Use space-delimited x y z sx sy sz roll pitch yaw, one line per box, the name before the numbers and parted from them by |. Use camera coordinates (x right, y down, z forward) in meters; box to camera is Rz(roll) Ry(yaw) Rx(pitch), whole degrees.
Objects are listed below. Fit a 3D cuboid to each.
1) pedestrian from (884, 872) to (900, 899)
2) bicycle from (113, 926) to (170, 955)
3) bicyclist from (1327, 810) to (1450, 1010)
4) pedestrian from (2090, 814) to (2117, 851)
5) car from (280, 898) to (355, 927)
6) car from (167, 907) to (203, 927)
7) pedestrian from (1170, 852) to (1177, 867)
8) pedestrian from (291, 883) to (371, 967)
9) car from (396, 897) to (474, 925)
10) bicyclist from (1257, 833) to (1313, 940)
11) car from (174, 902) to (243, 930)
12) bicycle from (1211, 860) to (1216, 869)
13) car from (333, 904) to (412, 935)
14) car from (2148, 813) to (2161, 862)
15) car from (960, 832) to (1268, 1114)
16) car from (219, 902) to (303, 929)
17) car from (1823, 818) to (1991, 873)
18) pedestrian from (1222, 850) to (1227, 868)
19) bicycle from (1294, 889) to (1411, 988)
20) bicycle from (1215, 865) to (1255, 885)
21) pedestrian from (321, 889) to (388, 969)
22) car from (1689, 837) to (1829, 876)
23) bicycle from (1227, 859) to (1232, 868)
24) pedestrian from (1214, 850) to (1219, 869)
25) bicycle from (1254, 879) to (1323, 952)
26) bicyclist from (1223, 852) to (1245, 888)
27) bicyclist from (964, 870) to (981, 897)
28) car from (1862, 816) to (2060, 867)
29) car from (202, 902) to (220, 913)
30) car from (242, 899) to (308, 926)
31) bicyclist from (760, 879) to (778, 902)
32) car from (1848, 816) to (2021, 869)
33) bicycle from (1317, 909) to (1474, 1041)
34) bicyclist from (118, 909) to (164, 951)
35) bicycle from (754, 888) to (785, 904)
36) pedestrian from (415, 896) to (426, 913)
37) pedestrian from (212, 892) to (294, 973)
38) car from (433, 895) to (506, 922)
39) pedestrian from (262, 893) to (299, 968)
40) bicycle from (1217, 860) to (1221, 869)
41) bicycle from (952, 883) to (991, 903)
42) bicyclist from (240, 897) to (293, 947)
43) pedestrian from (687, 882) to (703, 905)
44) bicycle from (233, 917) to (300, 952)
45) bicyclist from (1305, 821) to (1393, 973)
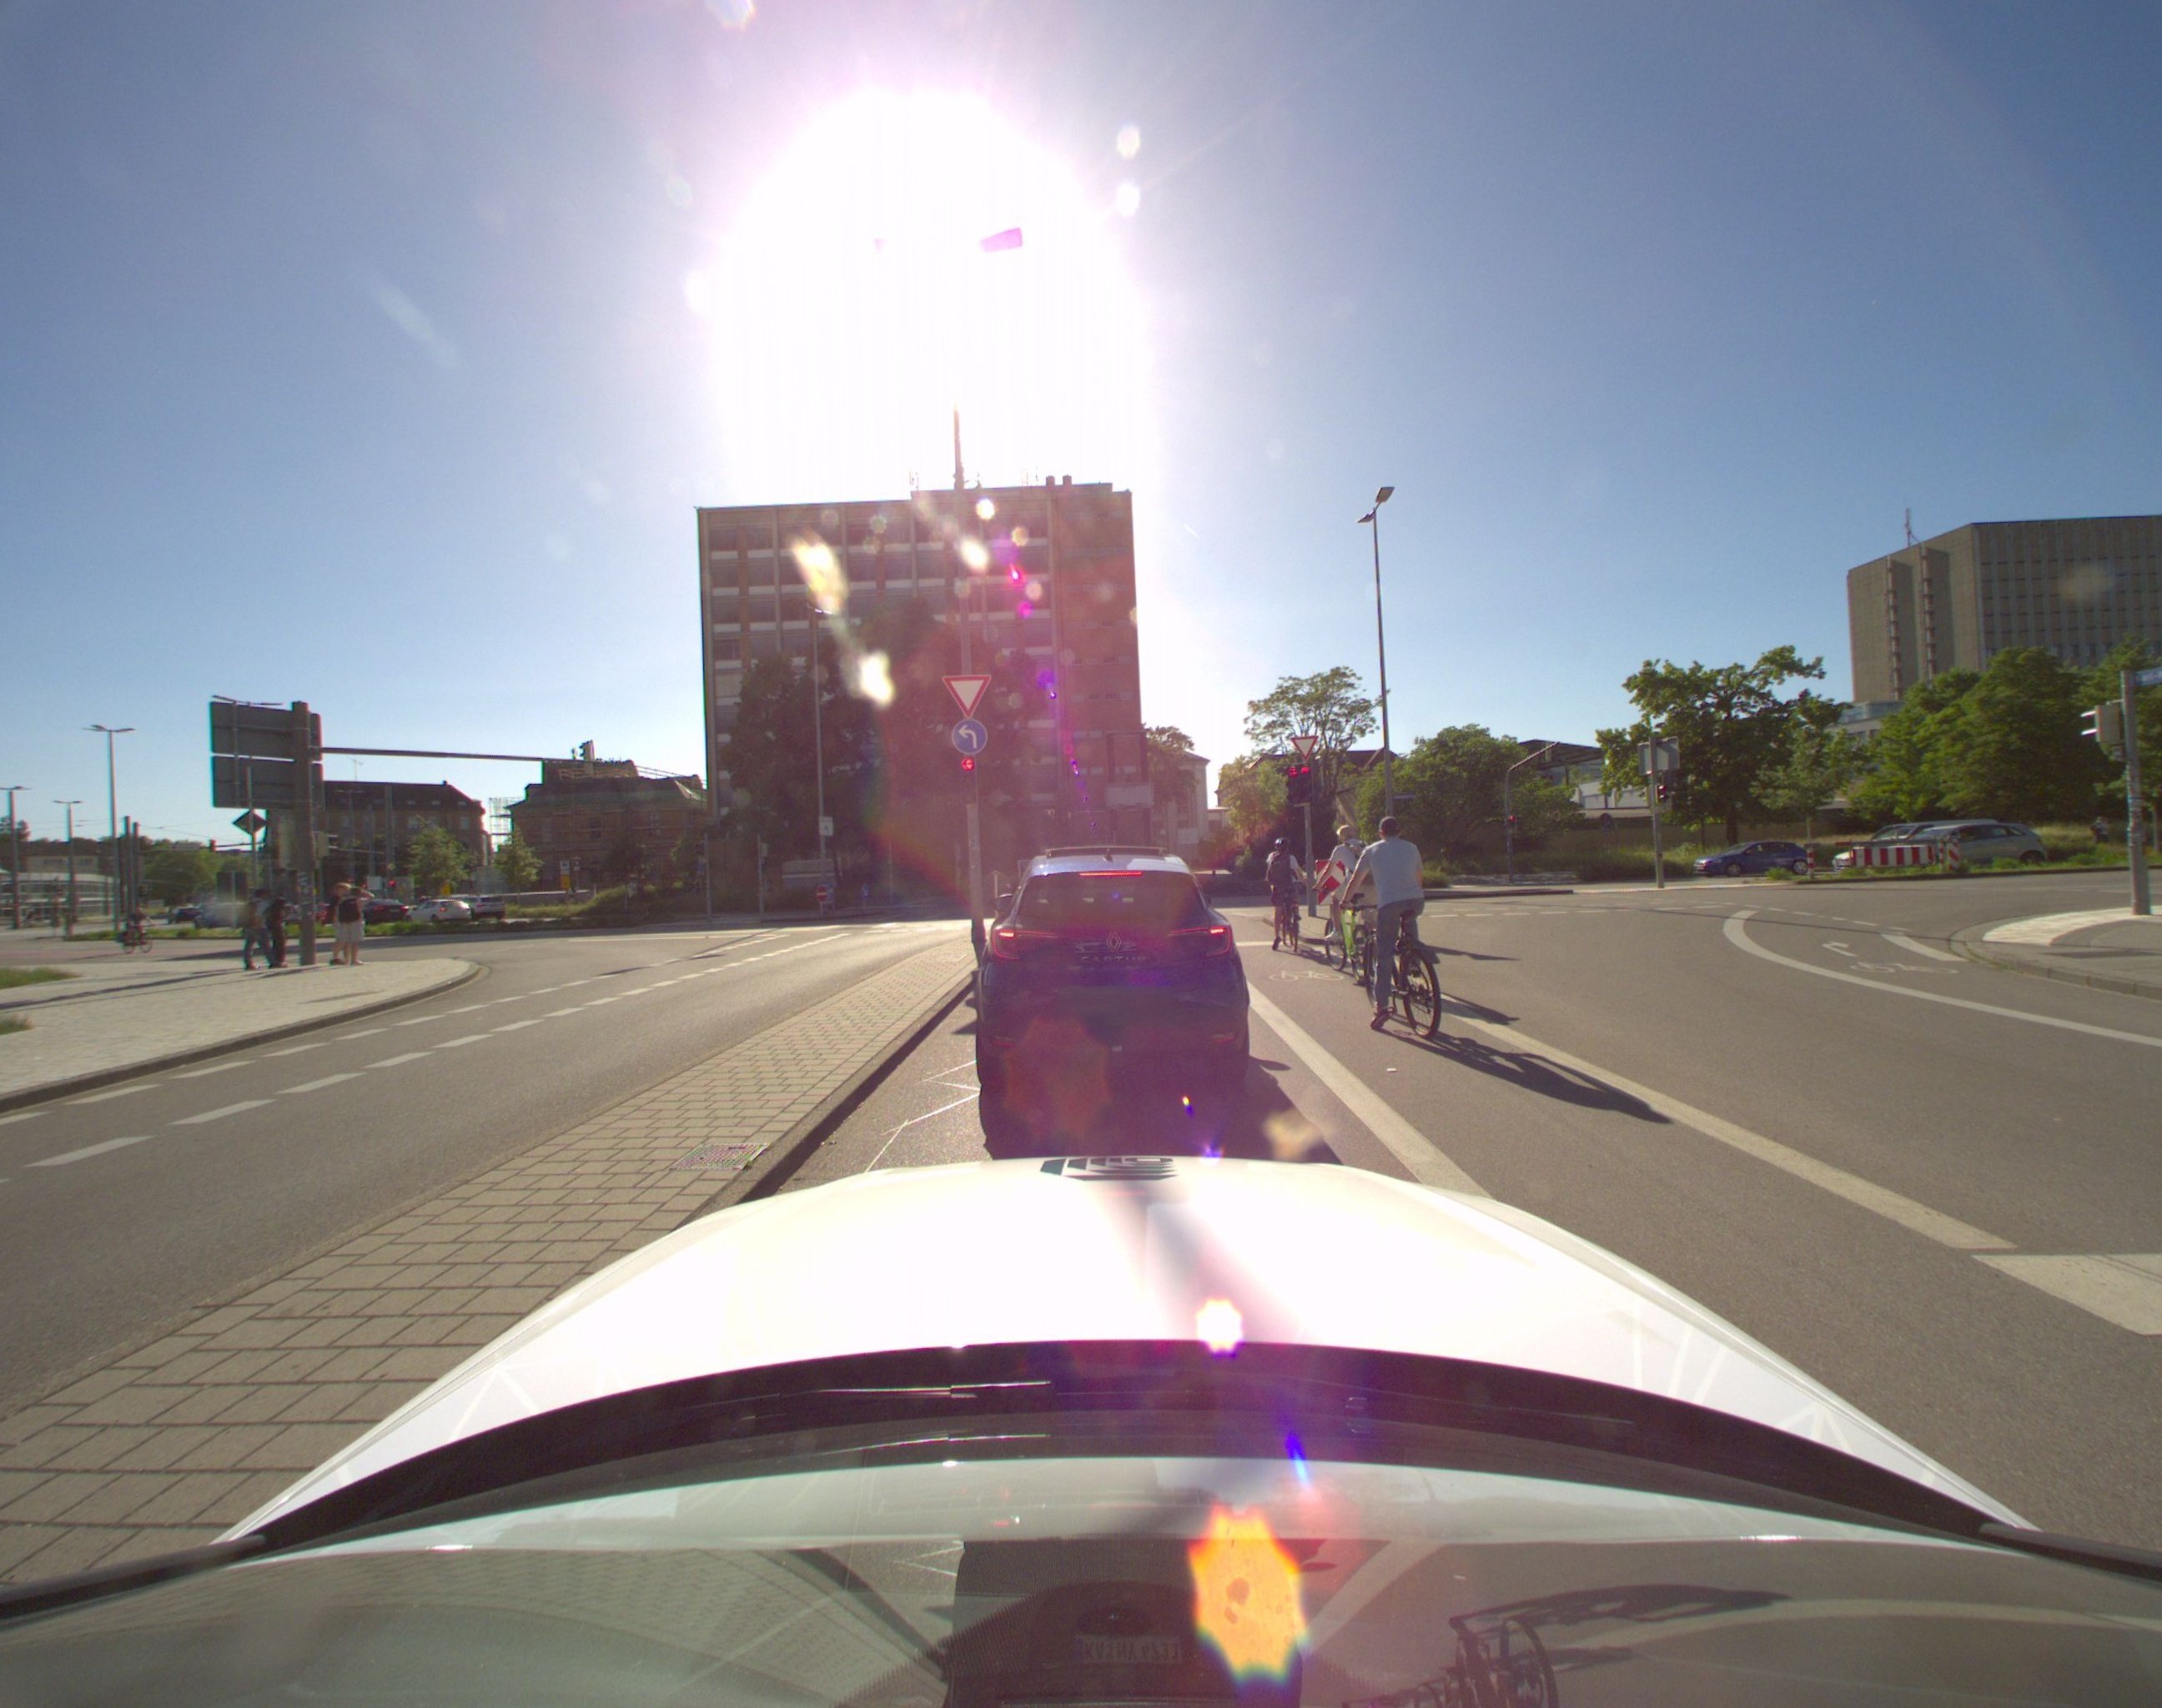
pedestrian | -11.601 1.951 50.034 0.732 1.603 0.601 -3 -1 14
bicycle | -34.175 3.144 29.617 1.967 0.918 0.691 -5 -1 20
bicyclist | 2.715 0.472 7.301 0.748 1.668 1.017 0 -1 3
pedestrian | 49.734 -1.047 39.601 0.558 1.778 0.528 -2 -1 6
car | -48.454 3.690 51.656 4.334 1.632 1.854 -3 -1 23
car | -84.445 5.926 76.706 4.330 1.632 1.856 -3 -1 37
pedestrian | 11.589 0.676 102.448 0.626 1.856 0.559 -2 -1 -22
pedestrian | -17.155 1.610 18.648 0.696 1.800 1.109 -6 -3 25
car | -36.370 3.202 45.862 3.803 1.435 1.752 -2 -1 21
bicyclist | 3.241 0.502 12.992 0.722 1.629 0.970 0 -1 6
car | -55.156 3.913 51.480 4.331 1.632 1.855 -3 -1 27
bicycle | 15.264 1.231 93.885 0.403 0.973 1.686 0 -1 6
car | -42.558 3.925 48.902 4.334 1.632 1.854 -3 -1 23
car | 36.989 -0.625 25.352 4.713 1.584 2.002 -2 -1 3
car | 0.206 0.709 6.808 1.798 1.632 3.999 -1 0 0
car | -49.009 3.683 48.669 4.841 1.388 1.854 -3 -1 23
car | 30.825 -0.292 30.539 3.962 1.815 2.006 -3 -1 10
pedestrian | 16.220 0.604 92.187 0.473 2.014 0.469 -2 -1 8
bicycle | 3.217 0.956 9.857 0.657 1.003 1.967 0 -1 -4
bicycle | 8.291 1.127 43.885 2.068 0.930 0.698 -3 1 10
pedestrian | -16.341 1.668 18.323 0.785 1.690 0.793 -6 -3 20
car | 28.221 0.100 34.012 4.140 1.435 1.747 -2 -1 8
bicycle | 17.194 1.075 94.178 0.403 0.973 1.686 0 -1 6
pedestrian | 15.108 0.601 90.862 0.473 2.014 0.524 -2 -1 8
bicycle | 3.251 0.929 12.939 0.735 0.995 2.177 0 -1 6
bicyclist | 8.269 0.857 43.965 1.094 1.867 0.655 -3 -1 12
bicyclist | -5.885 1.599 44.059 0.741 1.441 0.593 -2 -1 -25
car | 28.143 -0.381 26.171 4.025 1.408 1.872 -2 -1 8
car | -167.126 10.316 156.427 3.948 2.013 2.013 -3 -1 38
car | -53.810 3.927 54.382 4.331 1.632 1.855 -3 -1 27
bicyclist | -20.097 2.351 52.452 0.928 1.429 0.602 -3 -1 27
car | 35.256 -0.442 33.764 4.856 2.107 2.002 0 -1 4
bicycle | 2.723 1.006 7.301 0.737 0.896 1.980 0 -1 3
bicyclist | -34.195 2.750 29.630 1.115 1.422 0.690 -5 -1 19
bicycle | -20.081 2.707 52.445 2.056 0.964 0.602 -3 -1 28
pedestrian | -69.848 5.305 86.104 0.671 1.735 0.663 -3 -1 32
pedestrian | -18.256 1.712 17.981 0.900 1.690 0.839 -4 -3 -3
car | -41.108 3.697 54.760 4.779 1.632 1.855 -2 -1 25
pedestrian | -19.195 1.815 19.532 0.600 1.729 0.572 -2 -1 -45
bicycle | 15.882 1.225 93.827 0.403 0.973 1.686 0 -1 6
bicycle | -5.923 2.114 44.032 2.016 0.964 0.593 -2 -1 -25
bicyclist | -26.530 2.208 26.530 1.060 1.500 0.744 -4 -1 16
pedestrian | -26.703 2.746 56.347 0.852 1.571 0.562 -3 -1 24
bicycle | -26.506 2.631 26.511 1.967 0.995 0.745 -5 -1 20
bicyclist | 3.218 0.495 9.855 0.644 1.739 1.065 0 -1 -4
